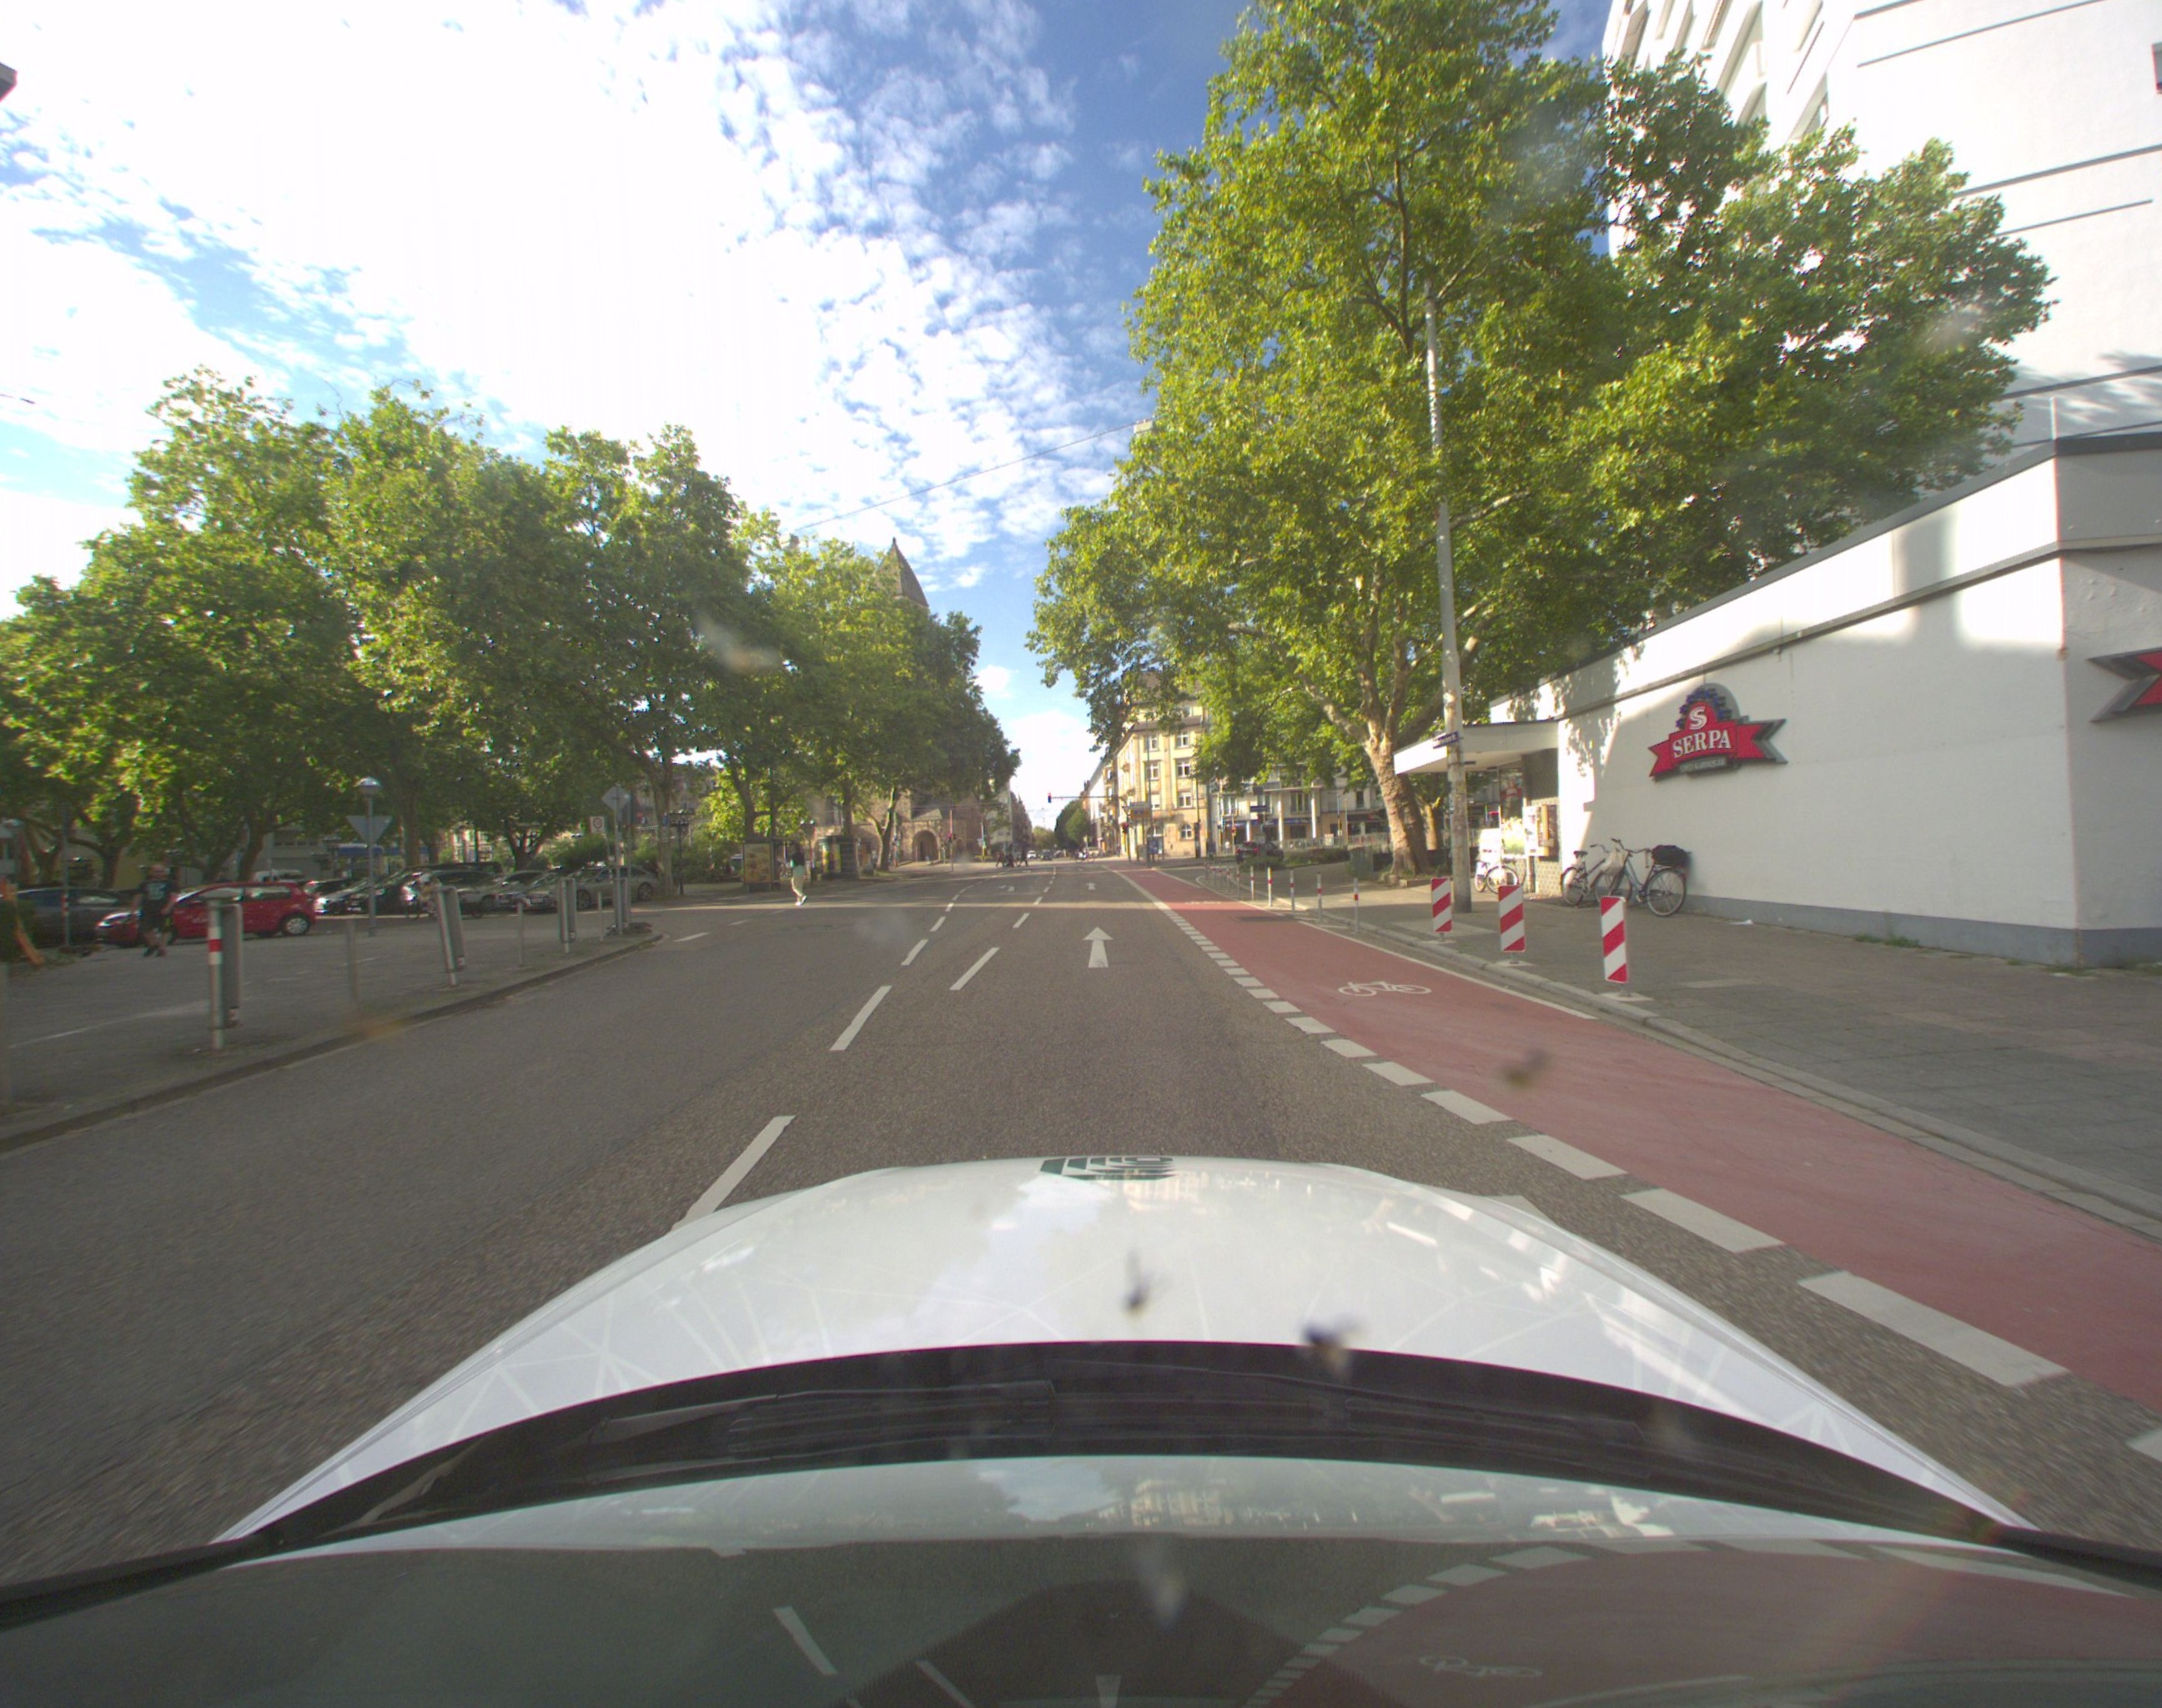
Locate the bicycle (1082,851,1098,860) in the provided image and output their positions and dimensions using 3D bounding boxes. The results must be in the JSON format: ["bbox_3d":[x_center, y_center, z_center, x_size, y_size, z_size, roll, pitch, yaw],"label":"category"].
[{"bbox_3d":[1.262,0.226,109.455,2.024,1.082,0.618,-3,0,-12],"label":"bicycle"}]

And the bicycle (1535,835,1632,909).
[{"bbox_3d":[8.836,0.286,14.405,0.707,1.206,1.773,-2,0,5],"label":"bicycle"}]

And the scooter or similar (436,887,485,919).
[{"bbox_3d":[-19.072,1.509,25.025,1.001,0.923,0.813,-2,0,27],"label":"scooter or similar"}]

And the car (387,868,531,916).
[{"bbox_3d":[-24.829,1.483,32.714,1.664,1.616,4.299,-3,0,20],"label":"car"}]

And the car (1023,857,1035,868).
[{"bbox_3d":[-10.381,1.717,163.321,1.986,2.013,4.002,-2,0,2],"label":"car"}]

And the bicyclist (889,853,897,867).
[{"bbox_3d":[-23.223,0.695,100.481,0.721,1.662,0.719,-2,0,0],"label":"bicyclist"}]

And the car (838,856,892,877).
[{"bbox_3d":[-21.755,1.276,81.894,4.805,1.871,2.041,-2,0,18],"label":"car"}]

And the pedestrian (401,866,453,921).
[{"bbox_3d":[-20.530,1.229,25.565,1.063,1.654,0.821,-2,0,24],"label":"pedestrian"}]

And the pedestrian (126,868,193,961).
[{"bbox_3d":[-16.457,1.057,14.565,0.723,1.578,0.739,-2,0,43],"label":"pedestrian"}]

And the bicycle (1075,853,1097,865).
[{"bbox_3d":[0.448,0.449,70.211,1.813,0.955,0.576,-2,0,24],"label":"bicycle"}]

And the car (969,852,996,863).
[{"bbox_3d":[-16.379,0.534,135.223,4.021,1.596,1.847,-3,1,-41],"label":"car"}]

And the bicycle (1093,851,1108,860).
[{"bbox_3d":[2.636,0.206,110.112,2.024,1.082,0.628,-3,0,-12],"label":"bicycle"}]

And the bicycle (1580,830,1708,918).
[{"bbox_3d":[8.635,0.280,12.586,0.765,1.206,1.818,-4,0,5],"label":"bicycle"}]

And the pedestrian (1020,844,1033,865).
[{"bbox_3d":[-4.578,0.024,68.189,0.774,1.662,0.783,-2,0,21],"label":"pedestrian"}]

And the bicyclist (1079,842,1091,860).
[{"bbox_3d":[0.359,-0.267,70.217,0.771,1.579,0.629,-3,0,24],"label":"bicyclist"}]

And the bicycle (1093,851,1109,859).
[{"bbox_3d":[2.719,0.131,109.443,2.024,1.082,0.618,-3,0,-12],"label":"bicycle"}]

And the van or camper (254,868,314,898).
[{"bbox_3d":[-67.795,2.462,69.257,4.436,2.328,2.124,-2,0,25],"label":"van or camper"}]

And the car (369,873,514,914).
[{"bbox_3d":[-26.579,1.597,34.045,1.838,1.377,4.410,-2,0,20],"label":"car"}]

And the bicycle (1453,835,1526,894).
[{"bbox_3d":[9.083,0.225,18.201,0.709,1.206,1.817,-6,-1,3],"label":"bicycle"}]

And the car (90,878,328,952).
[{"bbox_3d":[-21.680,1.462,20.441,1.577,1.477,3.727,-2,0,23],"label":"car"}]

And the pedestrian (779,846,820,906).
[{"bbox_3d":[-8.459,0.644,24.516,1.076,1.753,0.914,-1,0,-15],"label":"pedestrian"}]

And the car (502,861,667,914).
[{"bbox_3d":[-17.895,1.139,29.728,2.218,1.585,4.992,-3,0,13],"label":"car"}]

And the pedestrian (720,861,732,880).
[{"bbox_3d":[-24.134,1.129,55.394,0.725,1.288,0.811,0,0,-27],"label":"pedestrian"}]

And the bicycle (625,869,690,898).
[{"bbox_3d":[-18.568,1.299,35.755,1.377,1.209,2.113,-2,-2,22],"label":"bicycle"}]

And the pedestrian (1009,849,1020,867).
[{"bbox_3d":[-5.513,0.340,67.471,0.649,1.432,0.501,-2,0,21],"label":"pedestrian"}]

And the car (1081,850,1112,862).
[{"bbox_3d":[2.131,0.224,111.787,3.981,1.420,1.996,-3,0,-6],"label":"car"}]

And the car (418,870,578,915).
[{"bbox_3d":[-22.303,1.445,31.436,1.653,1.377,4.863,-3,0,20],"label":"car"}]

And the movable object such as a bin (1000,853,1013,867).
[{"bbox_3d":[-6.217,0.487,68.135,0.830,1.123,0.578,-2,0,21],"label":"movable object such as a bin"}]

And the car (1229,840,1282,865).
[{"bbox_3d":[11.044,-0.107,51.326,1.735,1.413,4.026,-1,0,37],"label":"car"}]

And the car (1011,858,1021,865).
[{"bbox_3d":[-11.540,1.297,144.769,1.545,1.230,3.588,-1,0,1],"label":"car"}]

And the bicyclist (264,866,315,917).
[{"bbox_3d":[-26.877,1.267,27.664,1.100,1.691,0.819,-2,0,22],"label":"bicyclist"}]

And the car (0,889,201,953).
[{"bbox_3d":[-26.533,1.740,21.767,1.576,1.366,3.728,-2,0,25],"label":"car"}]

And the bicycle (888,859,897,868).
[{"bbox_3d":[-23.201,1.145,100.291,0.634,0.980,1.925,-2,0,1],"label":"bicycle"}]

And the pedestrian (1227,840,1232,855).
[{"bbox_3d":[17.060,-0.778,93.581,0.491,1.714,0.530,0,0,22],"label":"pedestrian"}]

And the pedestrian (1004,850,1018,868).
[{"bbox_3d":[-5.737,0.386,66.868,0.774,1.432,0.735,-2,0,21],"label":"pedestrian"}]

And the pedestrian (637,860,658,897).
[{"bbox_3d":[-20.630,1.150,38.764,0.499,1.715,0.706,-3,0,-1],"label":"pedestrian"}]
